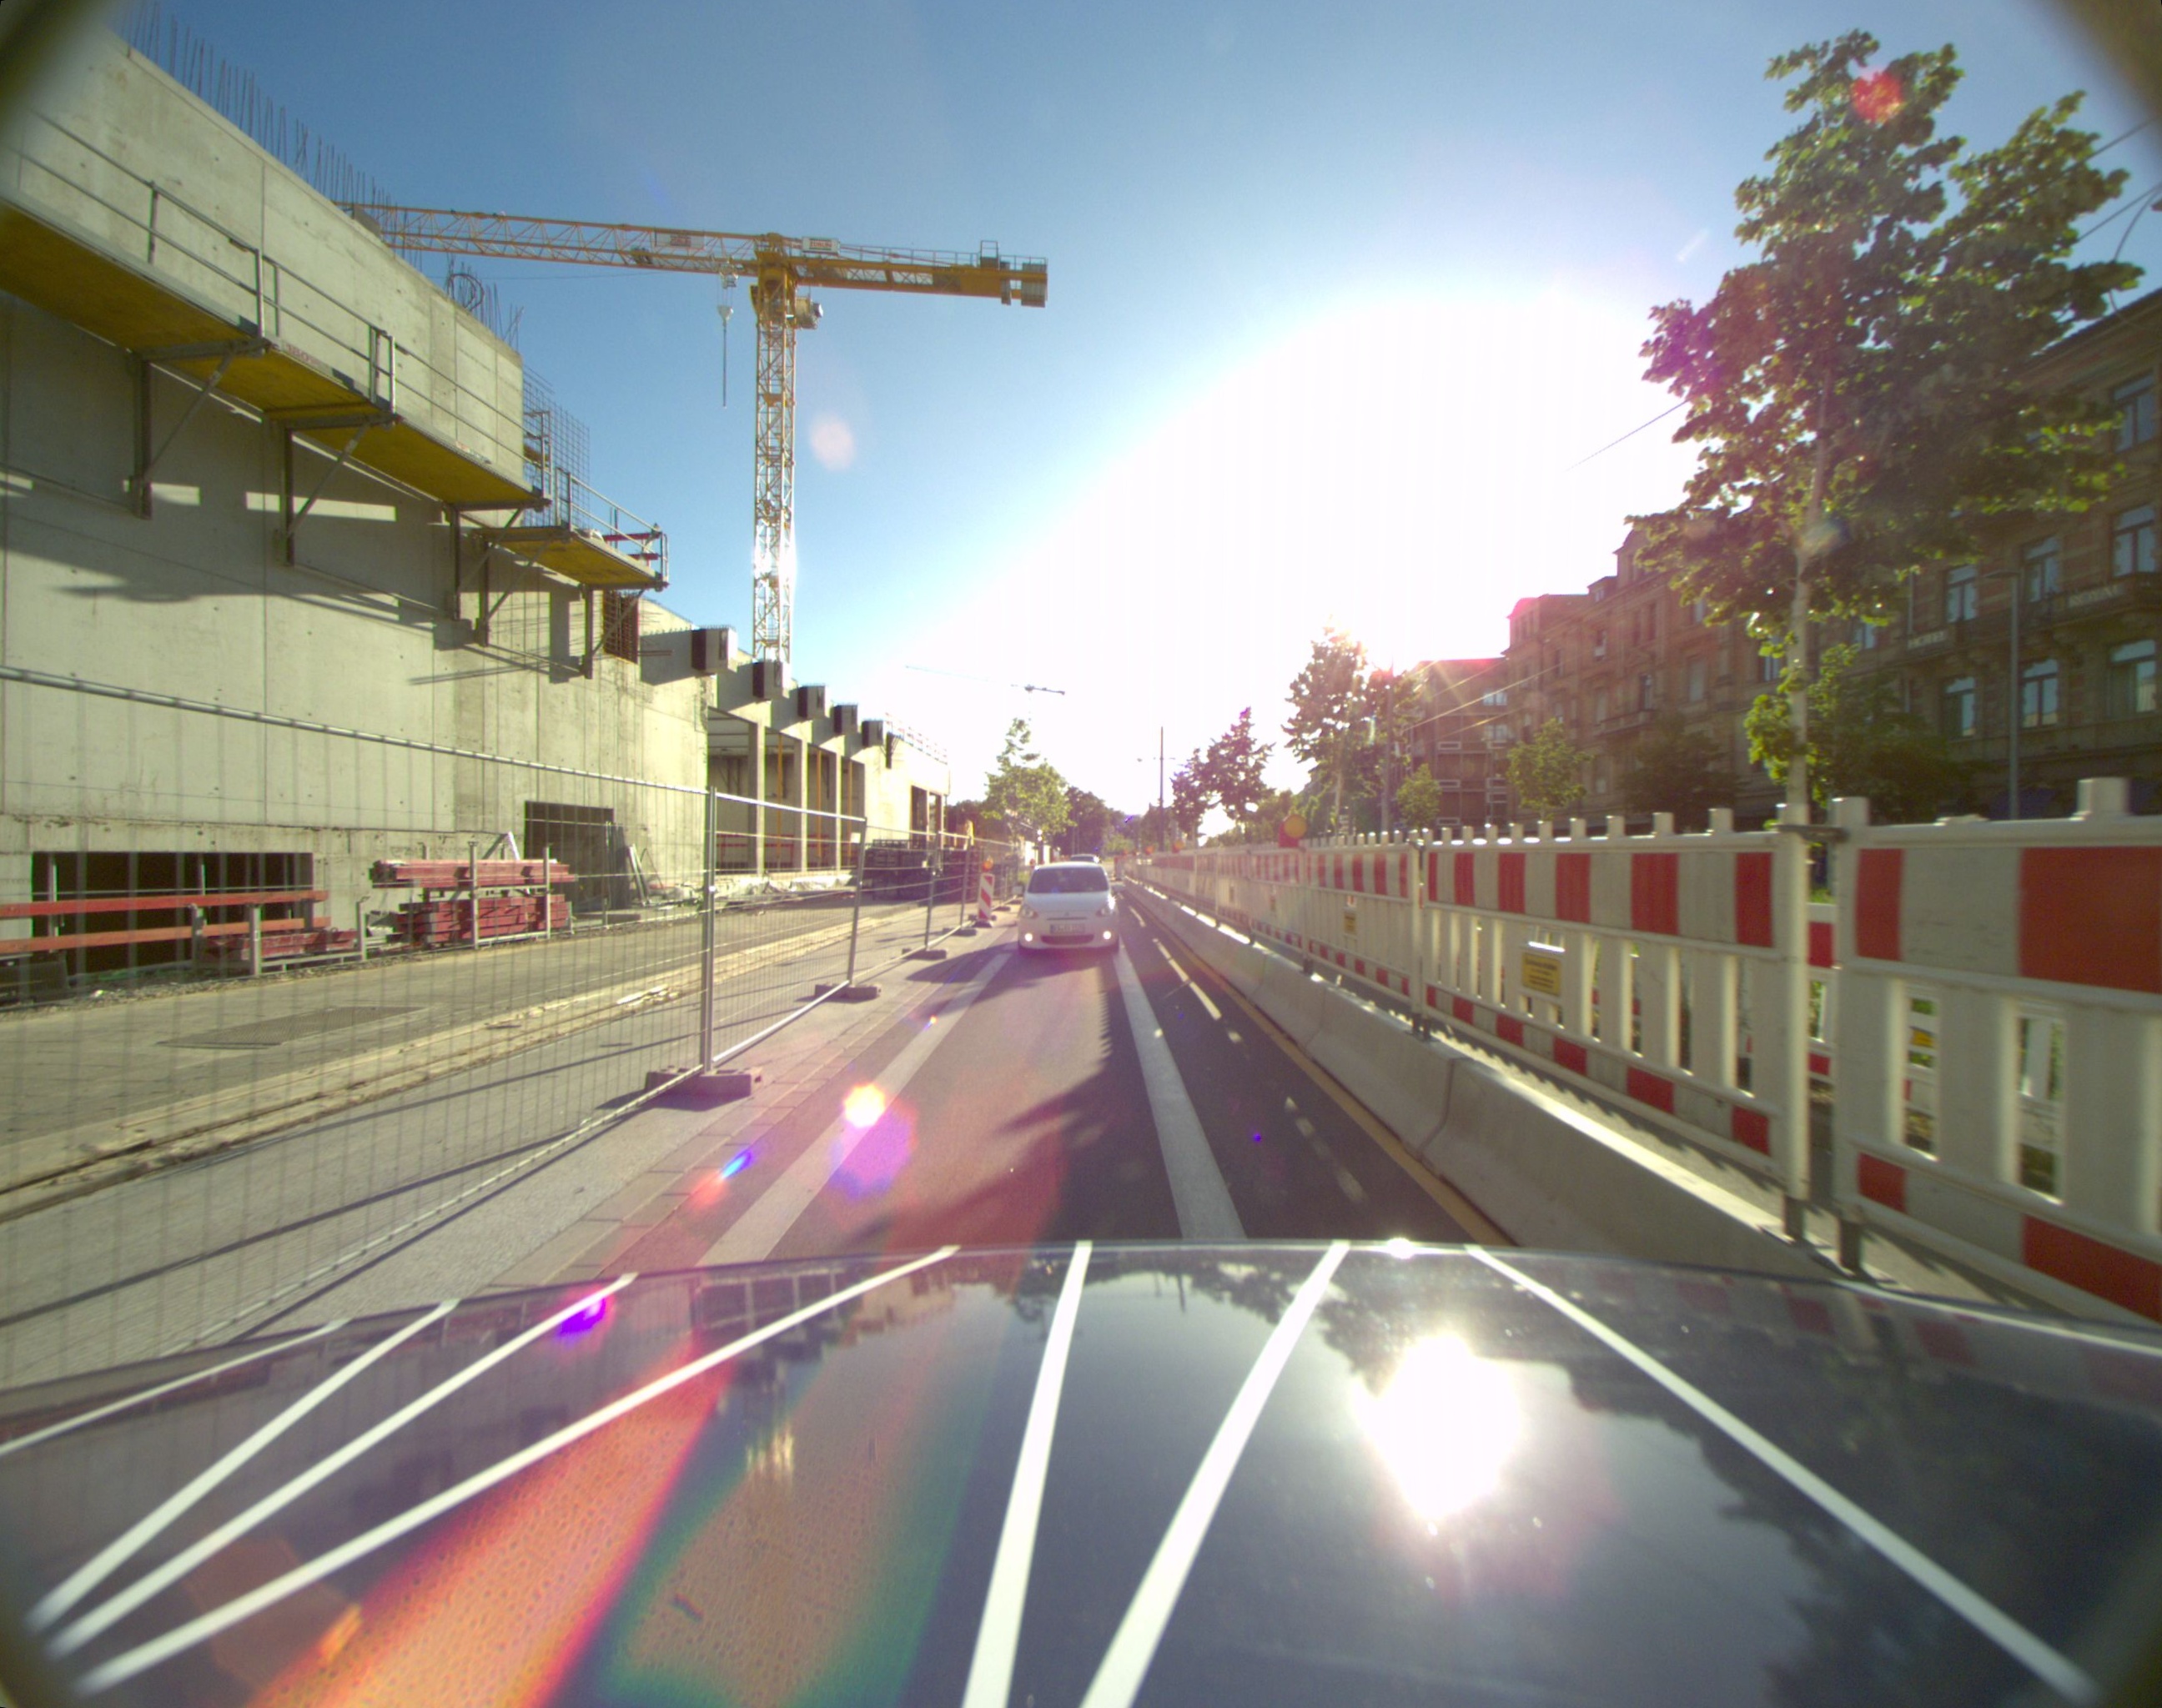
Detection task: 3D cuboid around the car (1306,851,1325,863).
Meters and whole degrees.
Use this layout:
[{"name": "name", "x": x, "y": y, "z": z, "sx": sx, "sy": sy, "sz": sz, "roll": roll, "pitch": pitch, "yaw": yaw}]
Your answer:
[{"name": "car", "x": 28.972, "y": 0.366, "z": 93.937, "sx": 1.652, "sy": 1.545, "sz": 3.969, "roll": 0, "pitch": 0, "yaw": 9}]

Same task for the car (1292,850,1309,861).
[{"name": "car", "x": 28.698, "y": 0.202, "z": 99.330, "sx": 1.627, "sy": 1.433, "sz": 3.821, "roll": -1, "pitch": 0, "yaw": 9}]

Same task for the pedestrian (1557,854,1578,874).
[{"name": "pedestrian", "x": 29.903, "y": 0.595, "z": 46.688, "sx": 0.692, "sy": 1.201, "sz": 0.929, "roll": 0, "pitch": 1, "yaw": 2}]

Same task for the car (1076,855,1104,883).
[{"name": "car", "x": 0.500, "y": 0.797, "z": 41.815, "sx": 1.458, "sy": 1.472, "sz": 3.527, "roll": 0, "pitch": 0, "yaw": 1}]

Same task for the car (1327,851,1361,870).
[{"name": "car", "x": 20.813, "y": 0.497, "z": 60.338, "sx": 1.598, "sy": 1.474, "sz": 3.624, "roll": 0, "pitch": 0, "yaw": 3}]

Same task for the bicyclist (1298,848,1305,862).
[{"name": "bicyclist", "x": 27.512, "y": 0.107, "z": 94.841, "sx": 0.696, "sy": 1.648, "sz": 0.882, "roll": 0, "pitch": 1, "yaw": 2}]

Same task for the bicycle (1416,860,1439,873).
[{"name": "bicycle", "x": 23.238, "y": 0.838, "z": 50.984, "sx": 0.638, "sy": 0.852, "sz": 2.031, "roll": 0, "pitch": 0, "yaw": 2}]

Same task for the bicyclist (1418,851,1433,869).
[{"name": "bicyclist", "x": 23.244, "y": 0.394, "z": 51.267, "sx": 0.638, "sy": 1.232, "sz": 0.738, "roll": 0, "pitch": 1, "yaw": 2}]

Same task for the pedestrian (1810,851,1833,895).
[{"name": "pedestrian", "x": 26.730, "y": 0.670, "z": 27.431, "sx": 0.404, "sy": 1.575, "sz": 0.426, "roll": -2, "pitch": 1, "yaw": 1}]

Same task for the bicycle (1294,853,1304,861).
[{"name": "bicycle", "x": 27.248, "y": 0.330, "z": 95.014, "sx": 0.696, "sy": 0.972, "sz": 1.827, "roll": 0, "pitch": 0, "yaw": 2}]

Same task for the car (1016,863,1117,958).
[{"name": "car", "x": -0.202, "y": 0.949, "z": 14.248, "sx": 1.614, "sy": 1.488, "sz": 3.395, "roll": -2, "pitch": 0, "yaw": 1}]

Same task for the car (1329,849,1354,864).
[{"name": "car", "x": 27.872, "y": 0.292, "z": 81.298, "sx": 1.733, "sy": 1.452, "sz": 3.902, "roll": -3, "pitch": 0, "yaw": 7}]

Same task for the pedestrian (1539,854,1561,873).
[{"name": "pedestrian", "x": 29.491, "y": 0.585, "z": 47.782, "sx": 0.793, "sy": 1.201, "sz": 0.929, "roll": 0, "pitch": 1, "yaw": 2}]

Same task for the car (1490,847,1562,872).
[{"name": "car", "x": 34.607, "y": 0.450, "z": 59.103, "sx": 4.522, "sy": 1.892, "sz": 1.898, "roll": 0, "pitch": 0, "yaw": -3}]

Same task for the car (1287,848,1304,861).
[{"name": "car", "x": 30.812, "y": 0.035, "z": 109.231, "sx": 1.754, "sy": 1.761, "sz": 4.334, "roll": -1, "pitch": 0, "yaw": 9}]

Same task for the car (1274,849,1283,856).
[{"name": "car", "x": 45.955, "y": -0.410, "z": 177.019, "sx": 1.725, "sy": 1.535, "sz": 3.634, "roll": -2, "pitch": 0, "yaw": 9}]

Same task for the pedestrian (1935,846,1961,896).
[{"name": "pedestrian", "x": 27.989, "y": 0.551, "z": 24.524, "sx": 0.484, "sy": 1.575, "sz": 0.481, "roll": -3, "pitch": 1, "yaw": -33}]

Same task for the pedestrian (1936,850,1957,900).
[{"name": "pedestrian", "x": 27.660, "y": 0.662, "z": 24.283, "sx": 0.368, "sy": 1.575, "sz": 0.405, "roll": -3, "pitch": 1, "yaw": -38}]
